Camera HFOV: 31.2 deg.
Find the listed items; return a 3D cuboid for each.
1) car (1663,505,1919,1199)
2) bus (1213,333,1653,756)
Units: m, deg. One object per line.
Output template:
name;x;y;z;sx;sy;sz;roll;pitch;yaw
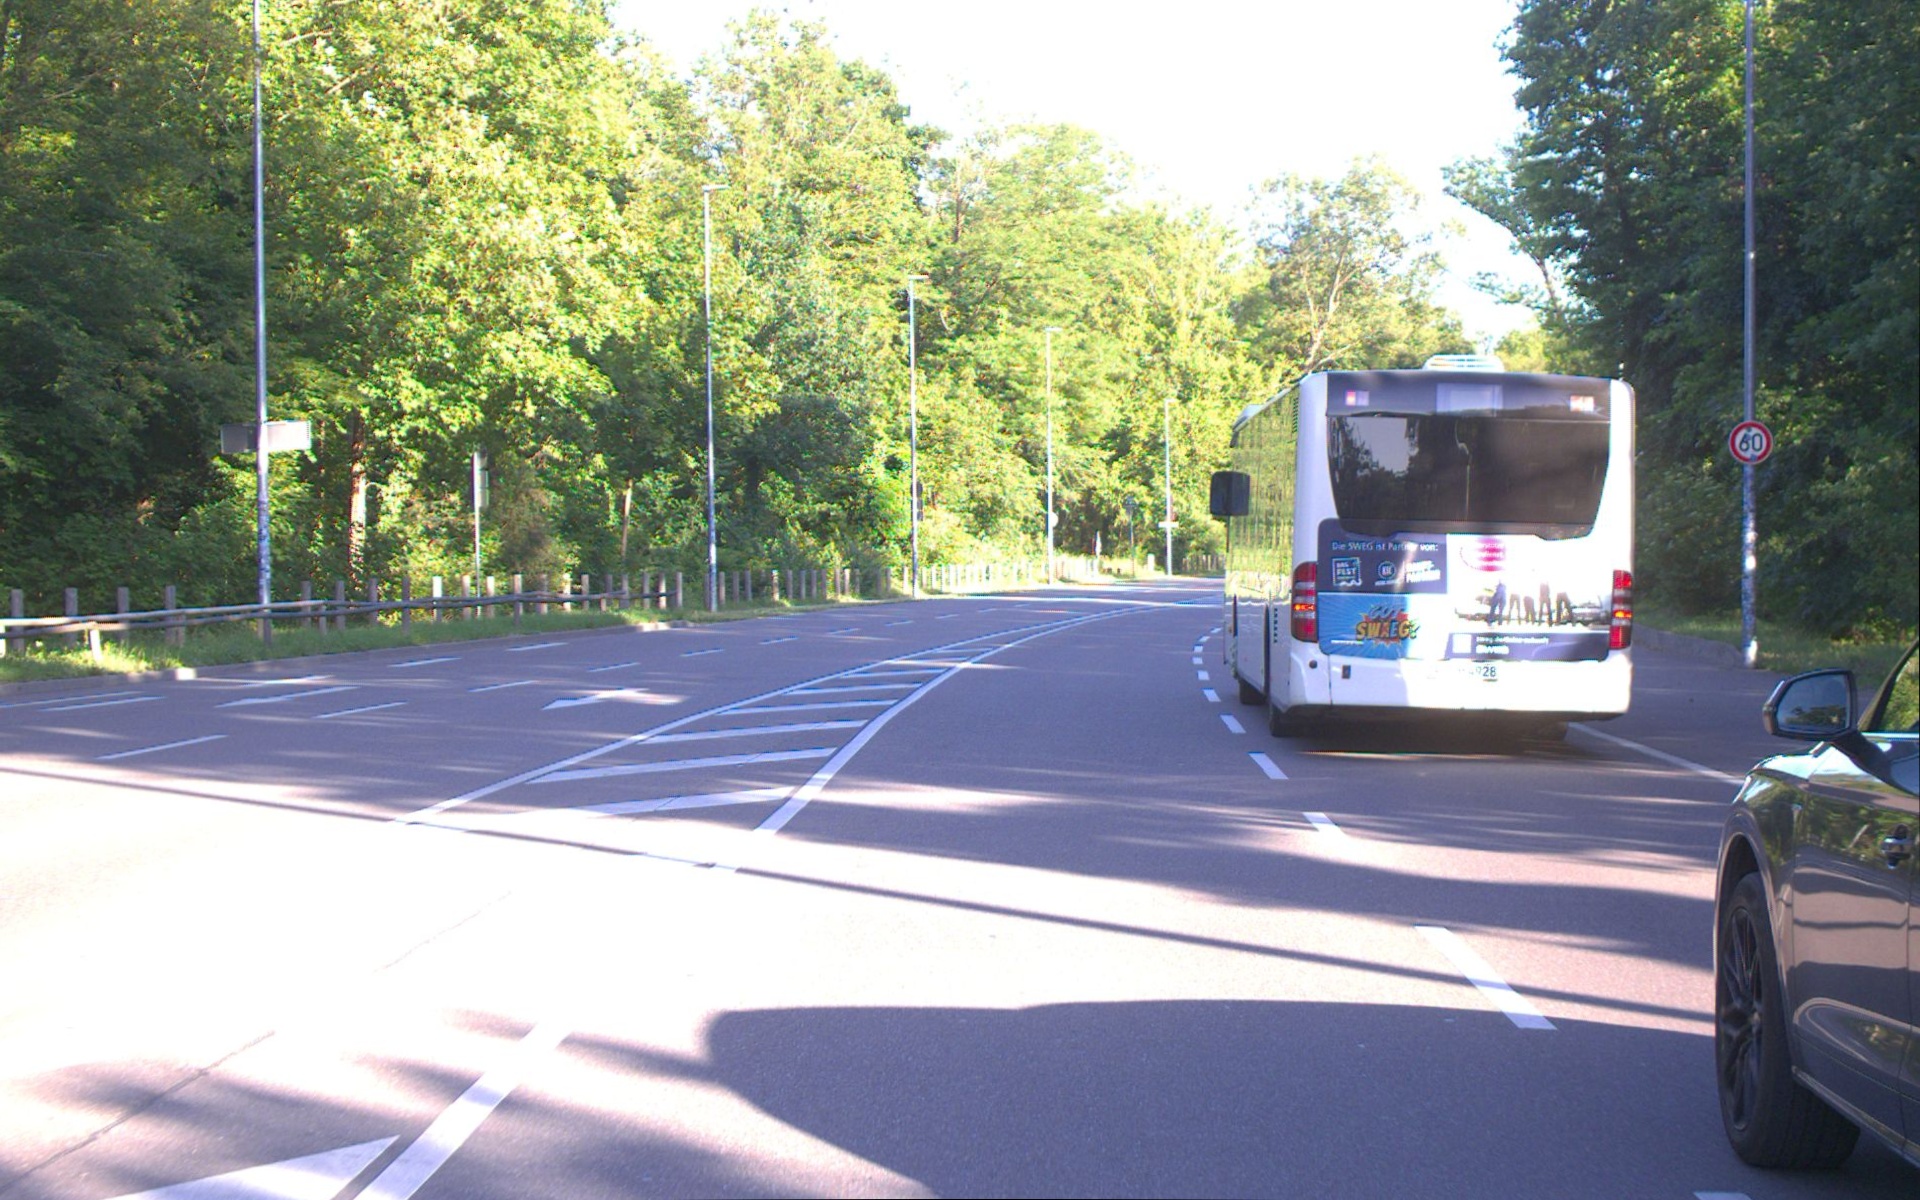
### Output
car;2.808;0.626;6.986;1.893;1.600;4.544;1;1;1
bus;3.883;-0.503;31.036;2.690;3.032;12.041;1;1;2
